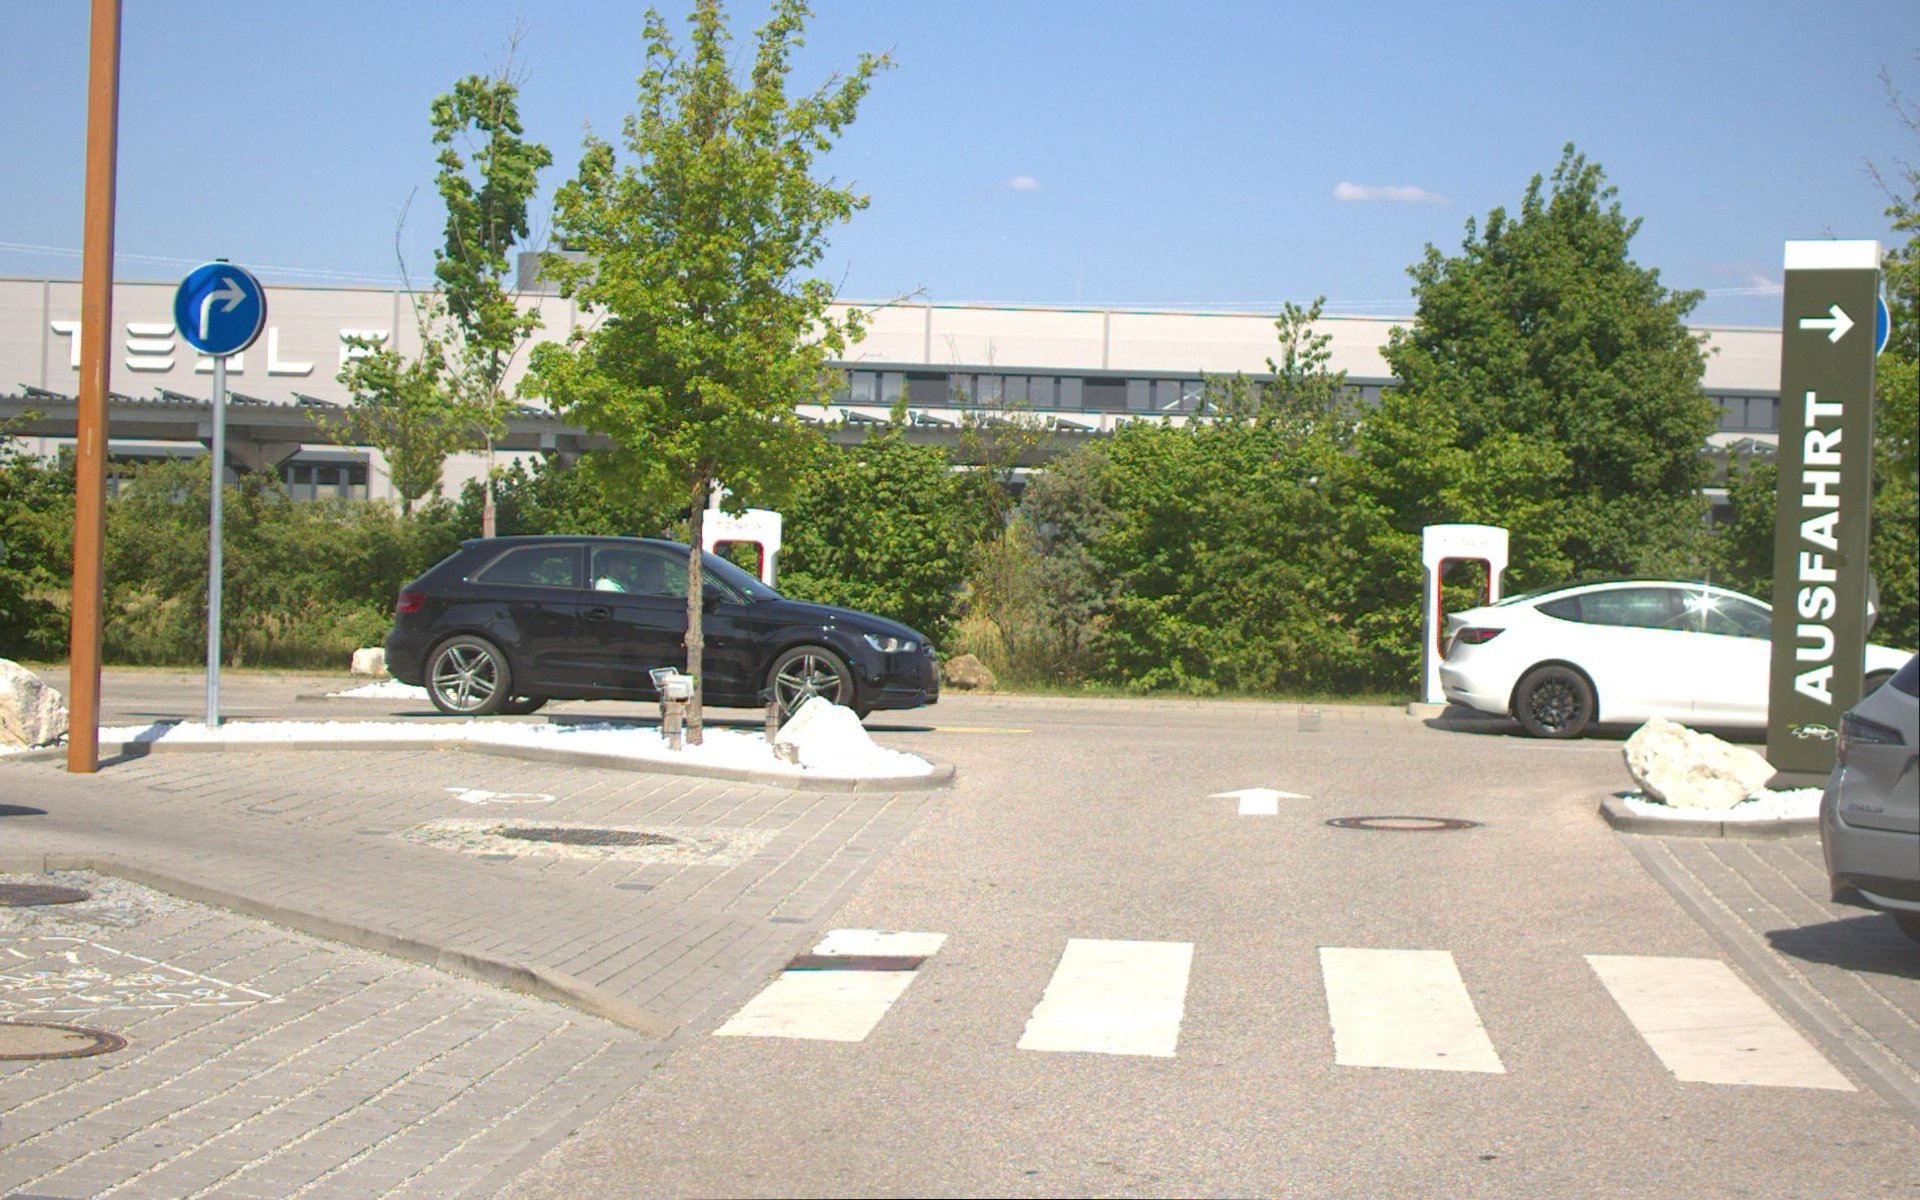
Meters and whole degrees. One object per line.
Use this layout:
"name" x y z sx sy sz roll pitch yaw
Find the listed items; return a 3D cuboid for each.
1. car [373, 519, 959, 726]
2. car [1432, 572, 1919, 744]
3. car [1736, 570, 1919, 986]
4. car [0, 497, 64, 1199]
"car" -2.196 0.185 26.350 4.201 1.436 1.698 1 -2 6
"car" 6.484 0.494 30.731 4.435 1.373 1.822 2 1 8
"car" 5.284 0.628 13.340 4.648 1.442 1.835 0 1 -37
"car" -4.035 0.417 8.385 1.785 1.597 4.226 3 1 -41
